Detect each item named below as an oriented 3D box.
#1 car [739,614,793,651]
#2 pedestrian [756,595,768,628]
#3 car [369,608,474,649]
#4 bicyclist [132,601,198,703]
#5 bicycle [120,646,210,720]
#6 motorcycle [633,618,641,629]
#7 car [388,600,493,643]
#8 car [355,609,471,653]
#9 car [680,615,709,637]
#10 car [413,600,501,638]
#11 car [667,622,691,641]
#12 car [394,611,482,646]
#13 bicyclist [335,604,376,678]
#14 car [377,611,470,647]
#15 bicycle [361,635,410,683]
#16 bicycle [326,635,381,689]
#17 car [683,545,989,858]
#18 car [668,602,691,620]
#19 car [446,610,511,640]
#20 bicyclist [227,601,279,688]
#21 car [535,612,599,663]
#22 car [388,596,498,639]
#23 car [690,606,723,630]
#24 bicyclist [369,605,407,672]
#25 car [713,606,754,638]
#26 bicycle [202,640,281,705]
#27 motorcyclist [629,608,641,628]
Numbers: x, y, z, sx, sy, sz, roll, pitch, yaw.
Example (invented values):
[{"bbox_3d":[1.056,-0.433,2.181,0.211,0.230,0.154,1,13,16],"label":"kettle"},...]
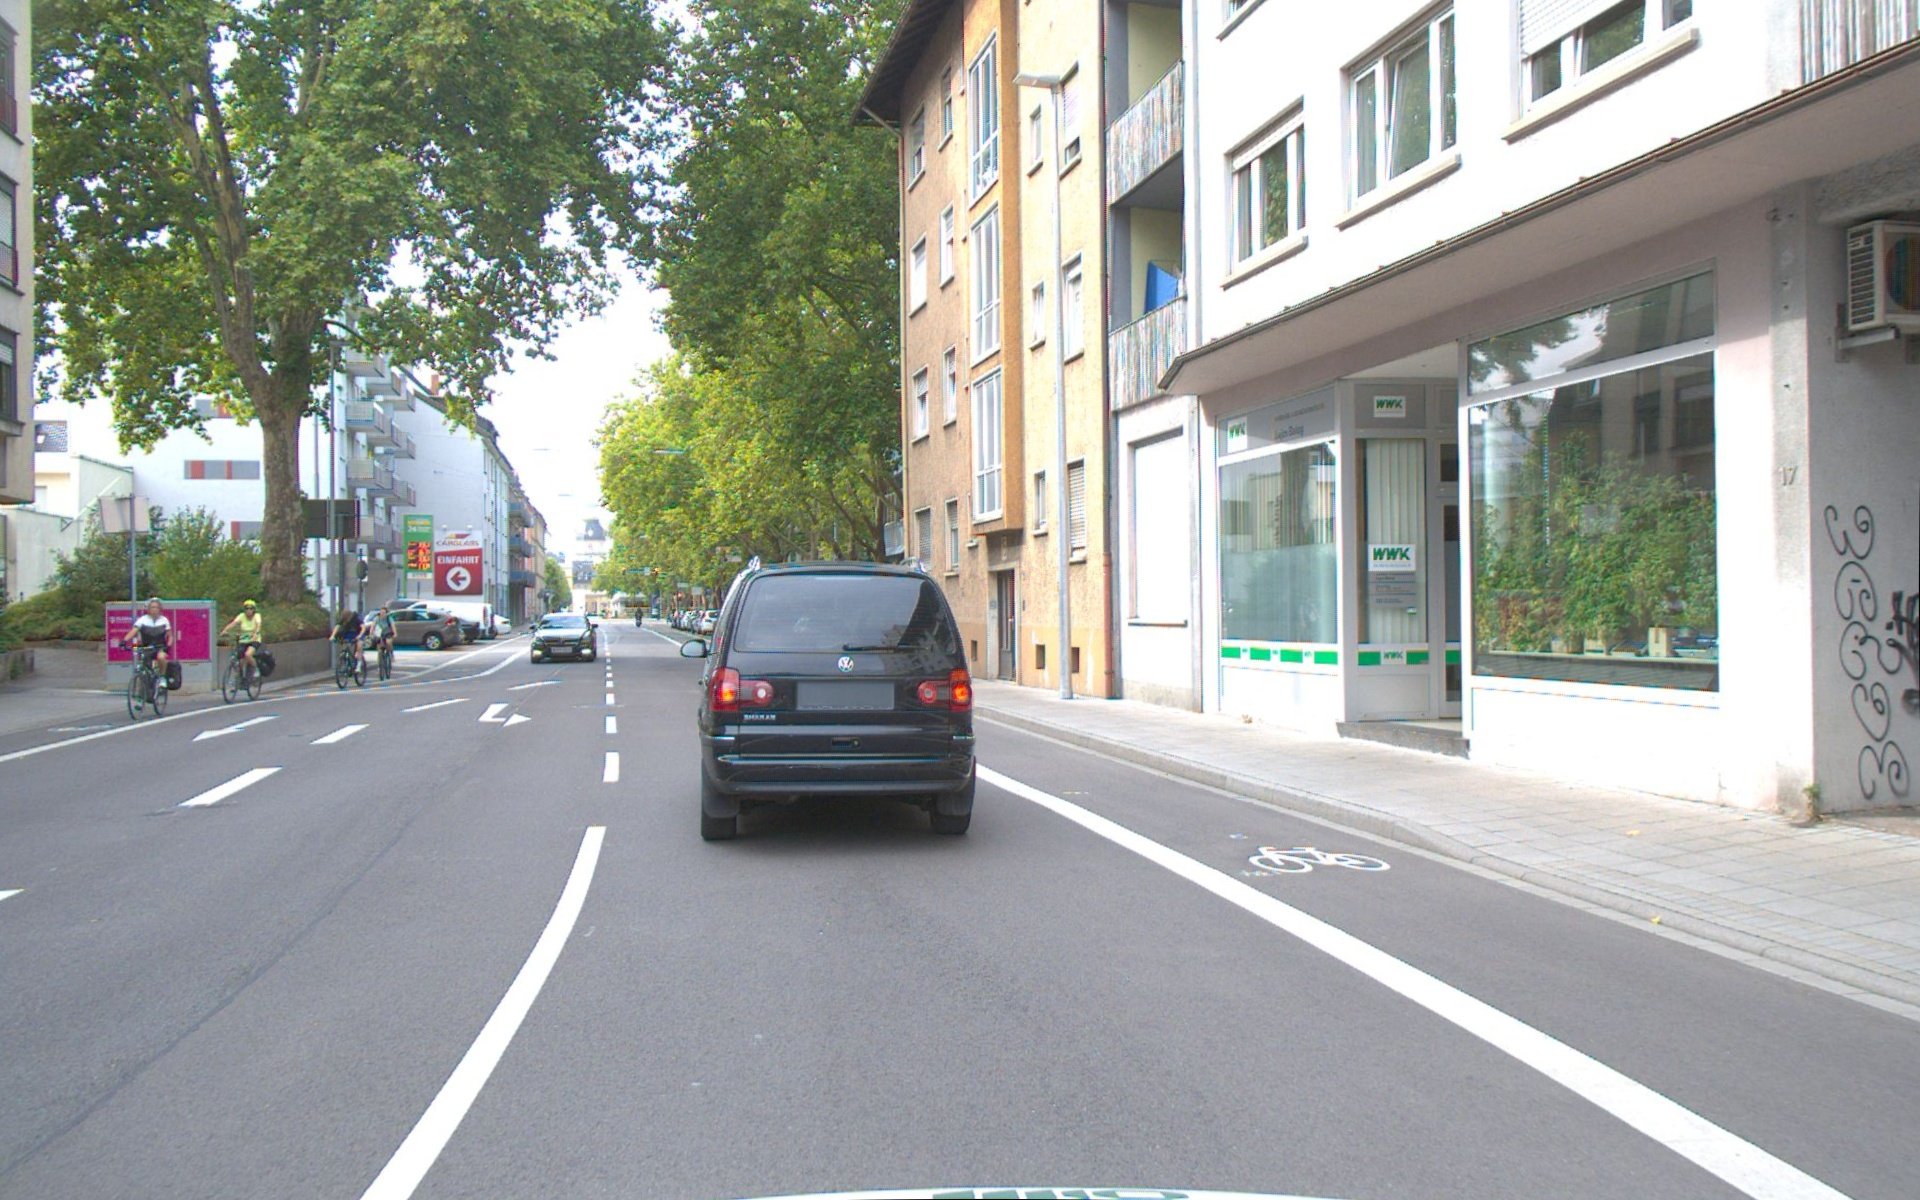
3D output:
[{"bbox_3d":[-7.733,1.265,65.719,1.647,1.418,4.445,0,-1,-13],"label":"car"},{"bbox_3d":[-11.998,0.699,100.247,0.631,2.010,0.690,1,1,-11],"label":"pedestrian"},{"bbox_3d":[-22.372,1.173,68.833,3.869,1.597,1.749,1,0,-10],"label":"car"},{"bbox_3d":[-12.474,0.802,25.973,0.644,1.552,1.000,1,1,-8],"label":"bicyclist"},{"bbox_3d":[-12.483,1.287,26.028,0.724,1.024,1.906,1,1,-8],"label":"bicycle"},{"bbox_3d":[-27.593,2.004,141.444,0.614,0.946,2.395,-1,0,-12],"label":"motorcycle"},{"bbox_3d":[-24.323,1.000,77.572,4.446,1.911,2.041,1,-1,-12],"label":"car"},{"bbox_3d":[-21.958,1.239,66.519,4.181,1.633,1.962,1,1,-12],"label":"car"},{"bbox_3d":[-18.363,1.765,114.237,1.615,1.438,3.401,0,0,-16],"label":"car"},{"bbox_3d":[-26.325,0.995,86.669,4.234,1.903,1.817,1,-1,-14],"label":"car"},{"bbox_3d":[-21.942,2.428,129.127,1.647,1.418,3.865,0,-1,-13],"label":"car"},{"bbox_3d":[-23.667,1.296,75.050,3.618,1.470,1.747,1,0,-13],"label":"car"},{"bbox_3d":[-12.942,0.867,35.412,0.644,1.552,0.855,1,1,-8],"label":"bicyclist"},{"bbox_3d":[-23.084,1.257,71.284,3.619,1.451,1.747,1,0,-14],"label":"car"},{"bbox_3d":[-13.625,1.387,39.262,0.724,1.024,2.190,1,1,-9],"label":"bicycle"},{"bbox_3d":[-12.903,1.304,35.224,0.724,1.024,1.972,1,1,-9],"label":"bicycle"},{"bbox_3d":[-0.987,0.570,11.494,1.779,1.797,3.730,0,0,-9],"label":"car"},{"bbox_3d":[-22.765,0.881,134.187,1.647,1.418,3.865,0,-1,-13],"label":"car"},{"bbox_3d":[-25.913,1.349,89.067,3.286,1.523,1.590,1,-1,-15],"label":"car"},{"bbox_3d":[-12.839,0.798,30.043,0.644,1.552,0.839,1,1,-8],"label":"bicyclist"},{"bbox_3d":[-11.982,1.111,50.615,1.779,1.432,4.594,-1,0,-12],"label":"car"},{"bbox_3d":[-24.967,0.854,80.034,4.831,1.936,1.993,2,-1,-13],"label":"car"},{"bbox_3d":[-15.204,1.089,99.119,1.647,1.418,4.445,0,-1,-13],"label":"car"},{"bbox_3d":[-13.659,0.899,39.518,0.644,1.552,1.074,1,1,-8],"label":"bicyclist"},{"bbox_3d":[-11.125,1.083,80.959,1.602,1.495,4.302,0,-1,-13],"label":"car"},{"bbox_3d":[-12.897,1.277,29.756,0.724,1.024,2.248,1,1,-8],"label":"bicycle"},{"bbox_3d":[-27.825,1.544,141.623,0.936,1.689,1.251,-1,0,-13],"label":"motorcyclist"}]
